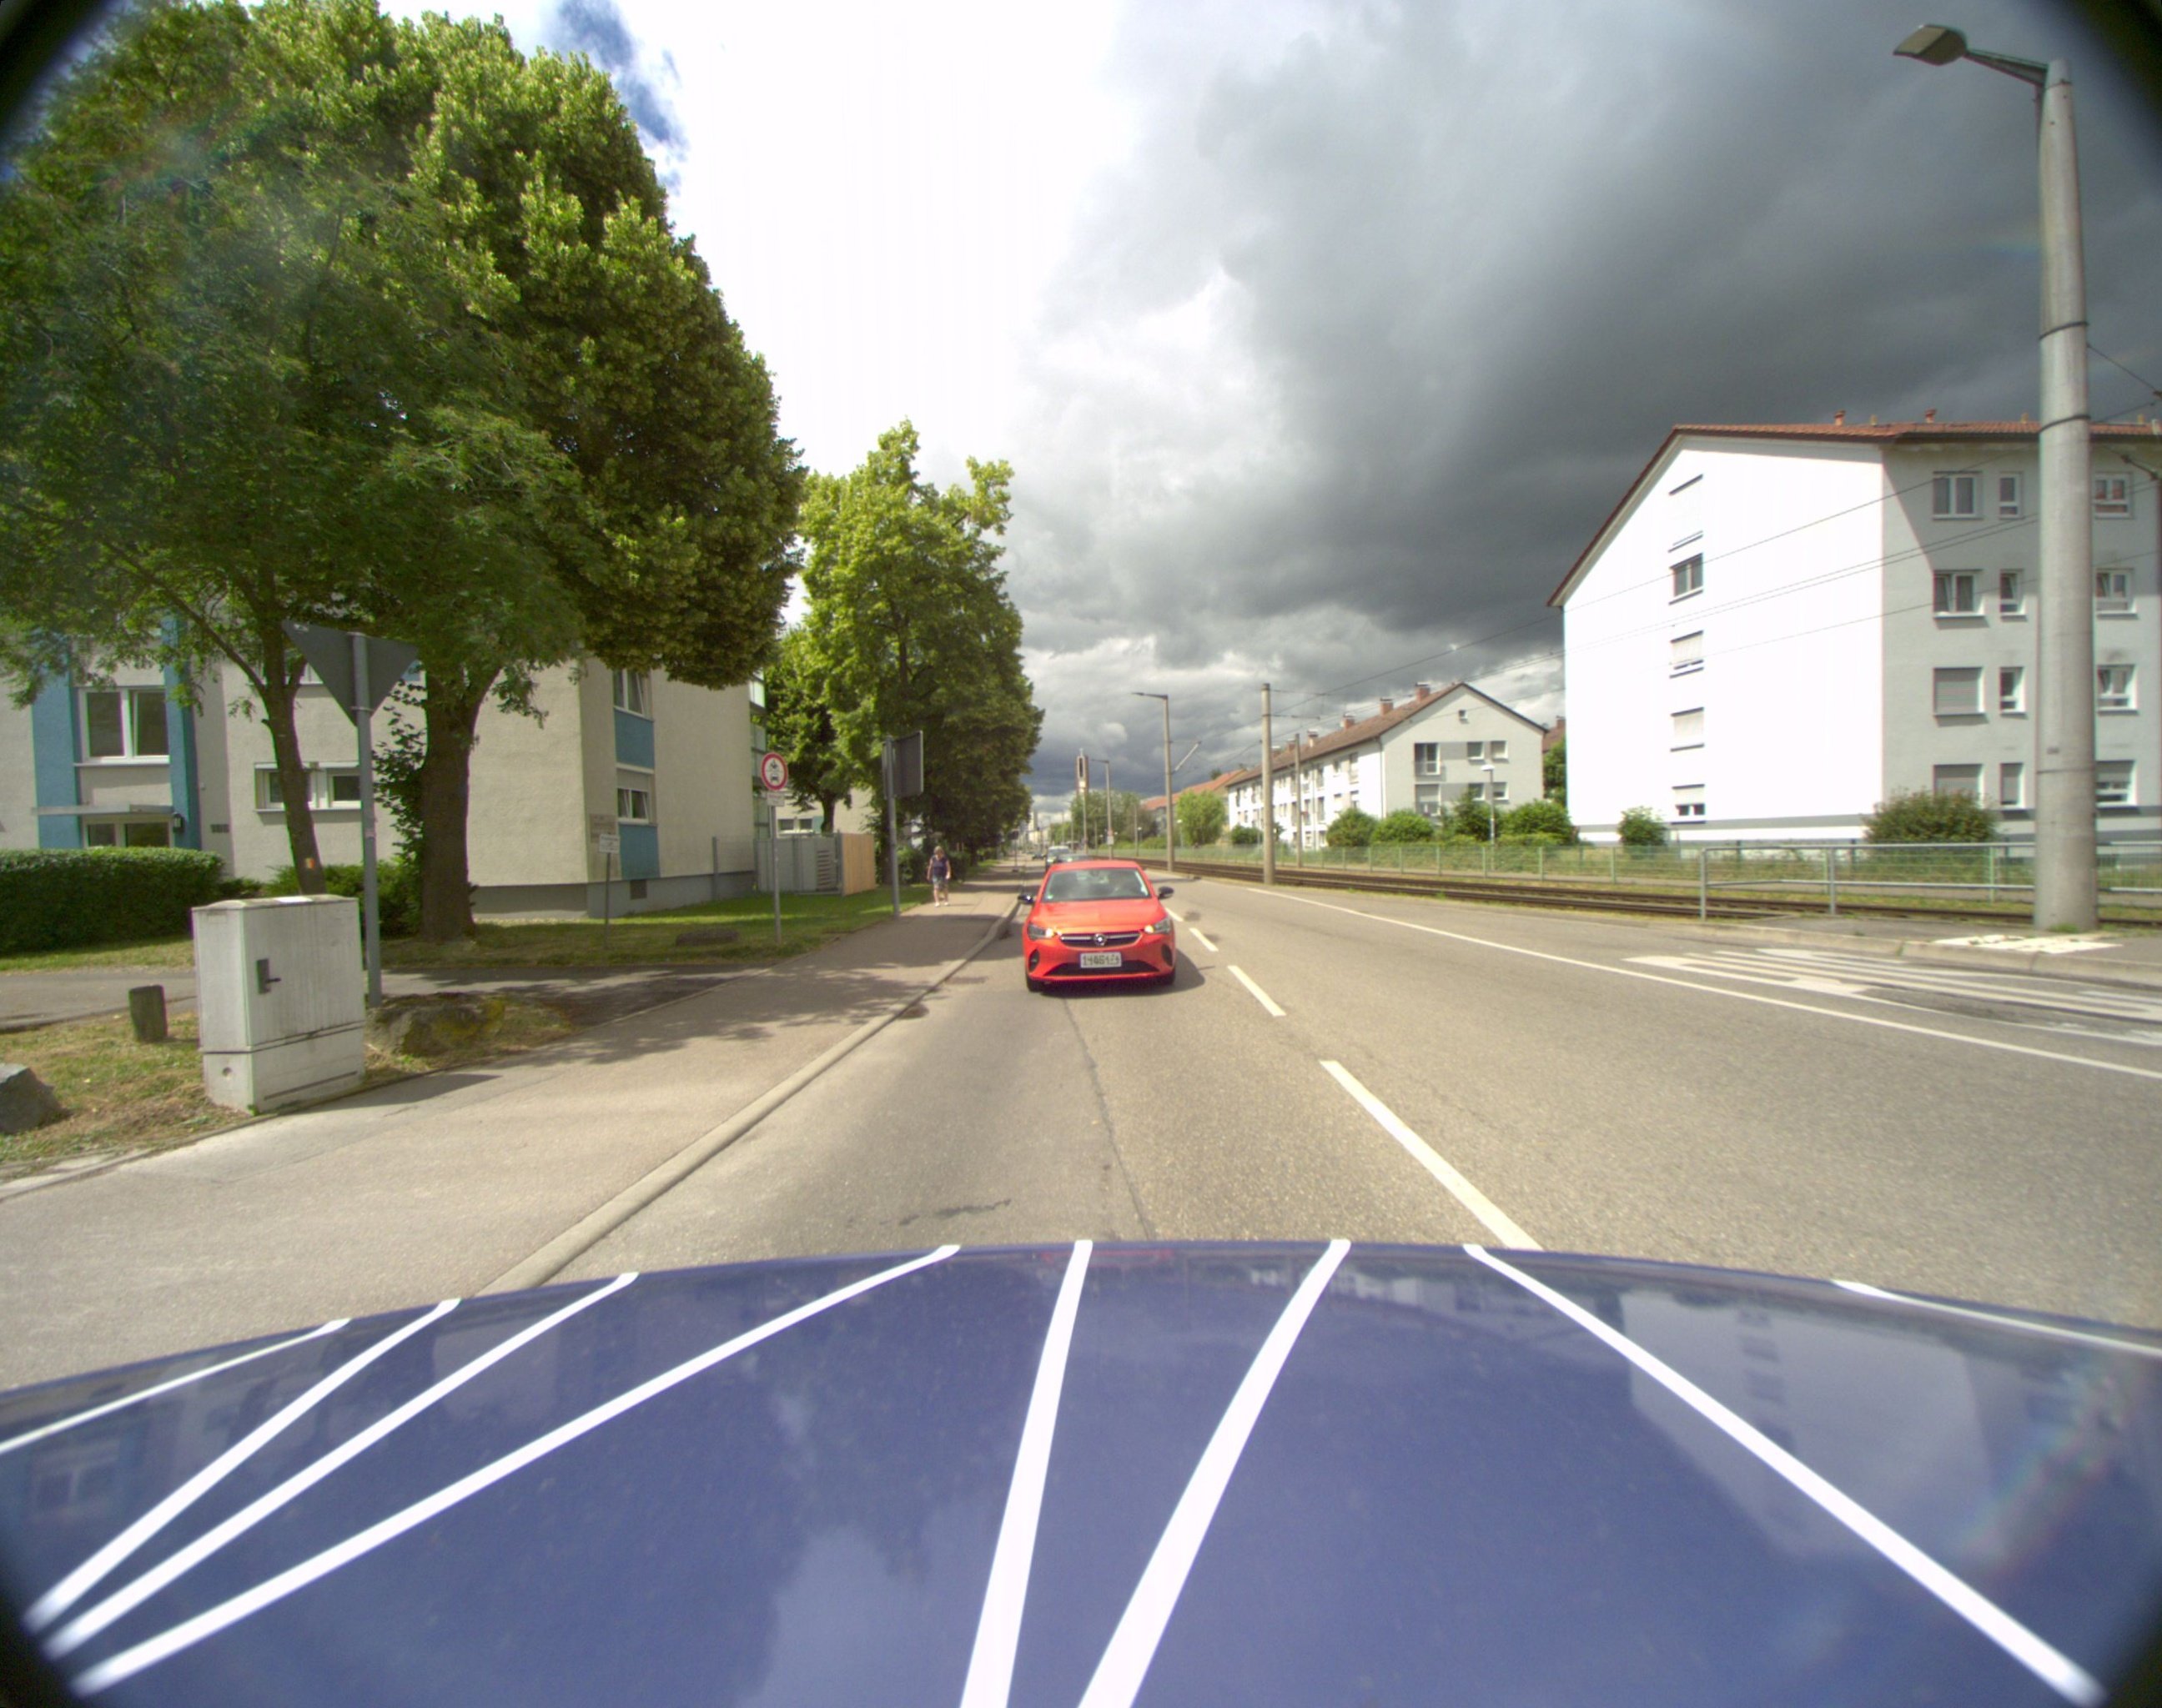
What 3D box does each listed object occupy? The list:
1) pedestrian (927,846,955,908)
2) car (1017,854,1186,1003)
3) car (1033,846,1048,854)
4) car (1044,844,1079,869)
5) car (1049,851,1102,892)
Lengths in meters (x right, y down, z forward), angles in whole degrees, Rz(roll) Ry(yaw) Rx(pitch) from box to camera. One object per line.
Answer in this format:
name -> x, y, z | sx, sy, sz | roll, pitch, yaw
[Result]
pedestrian -> -3.828, 0.618, 20.780 | 0.684, 1.651, 0.831 | -1, 1, -9
car -> 0.075, 0.831, 9.961 | 1.766, 1.548, 3.999 | 1, -1, -4
car -> -6.344, -0.647, 119.273 | 1.918, 1.309, 4.000 | -1, 1, 4
car -> -1.353, 0.138, 50.963 | 1.999, 1.598, 3.997 | -1, 1, -6
car -> -0.266, 0.623, 29.283 | 1.764, 1.390, 3.998 | -1, 1, -4
